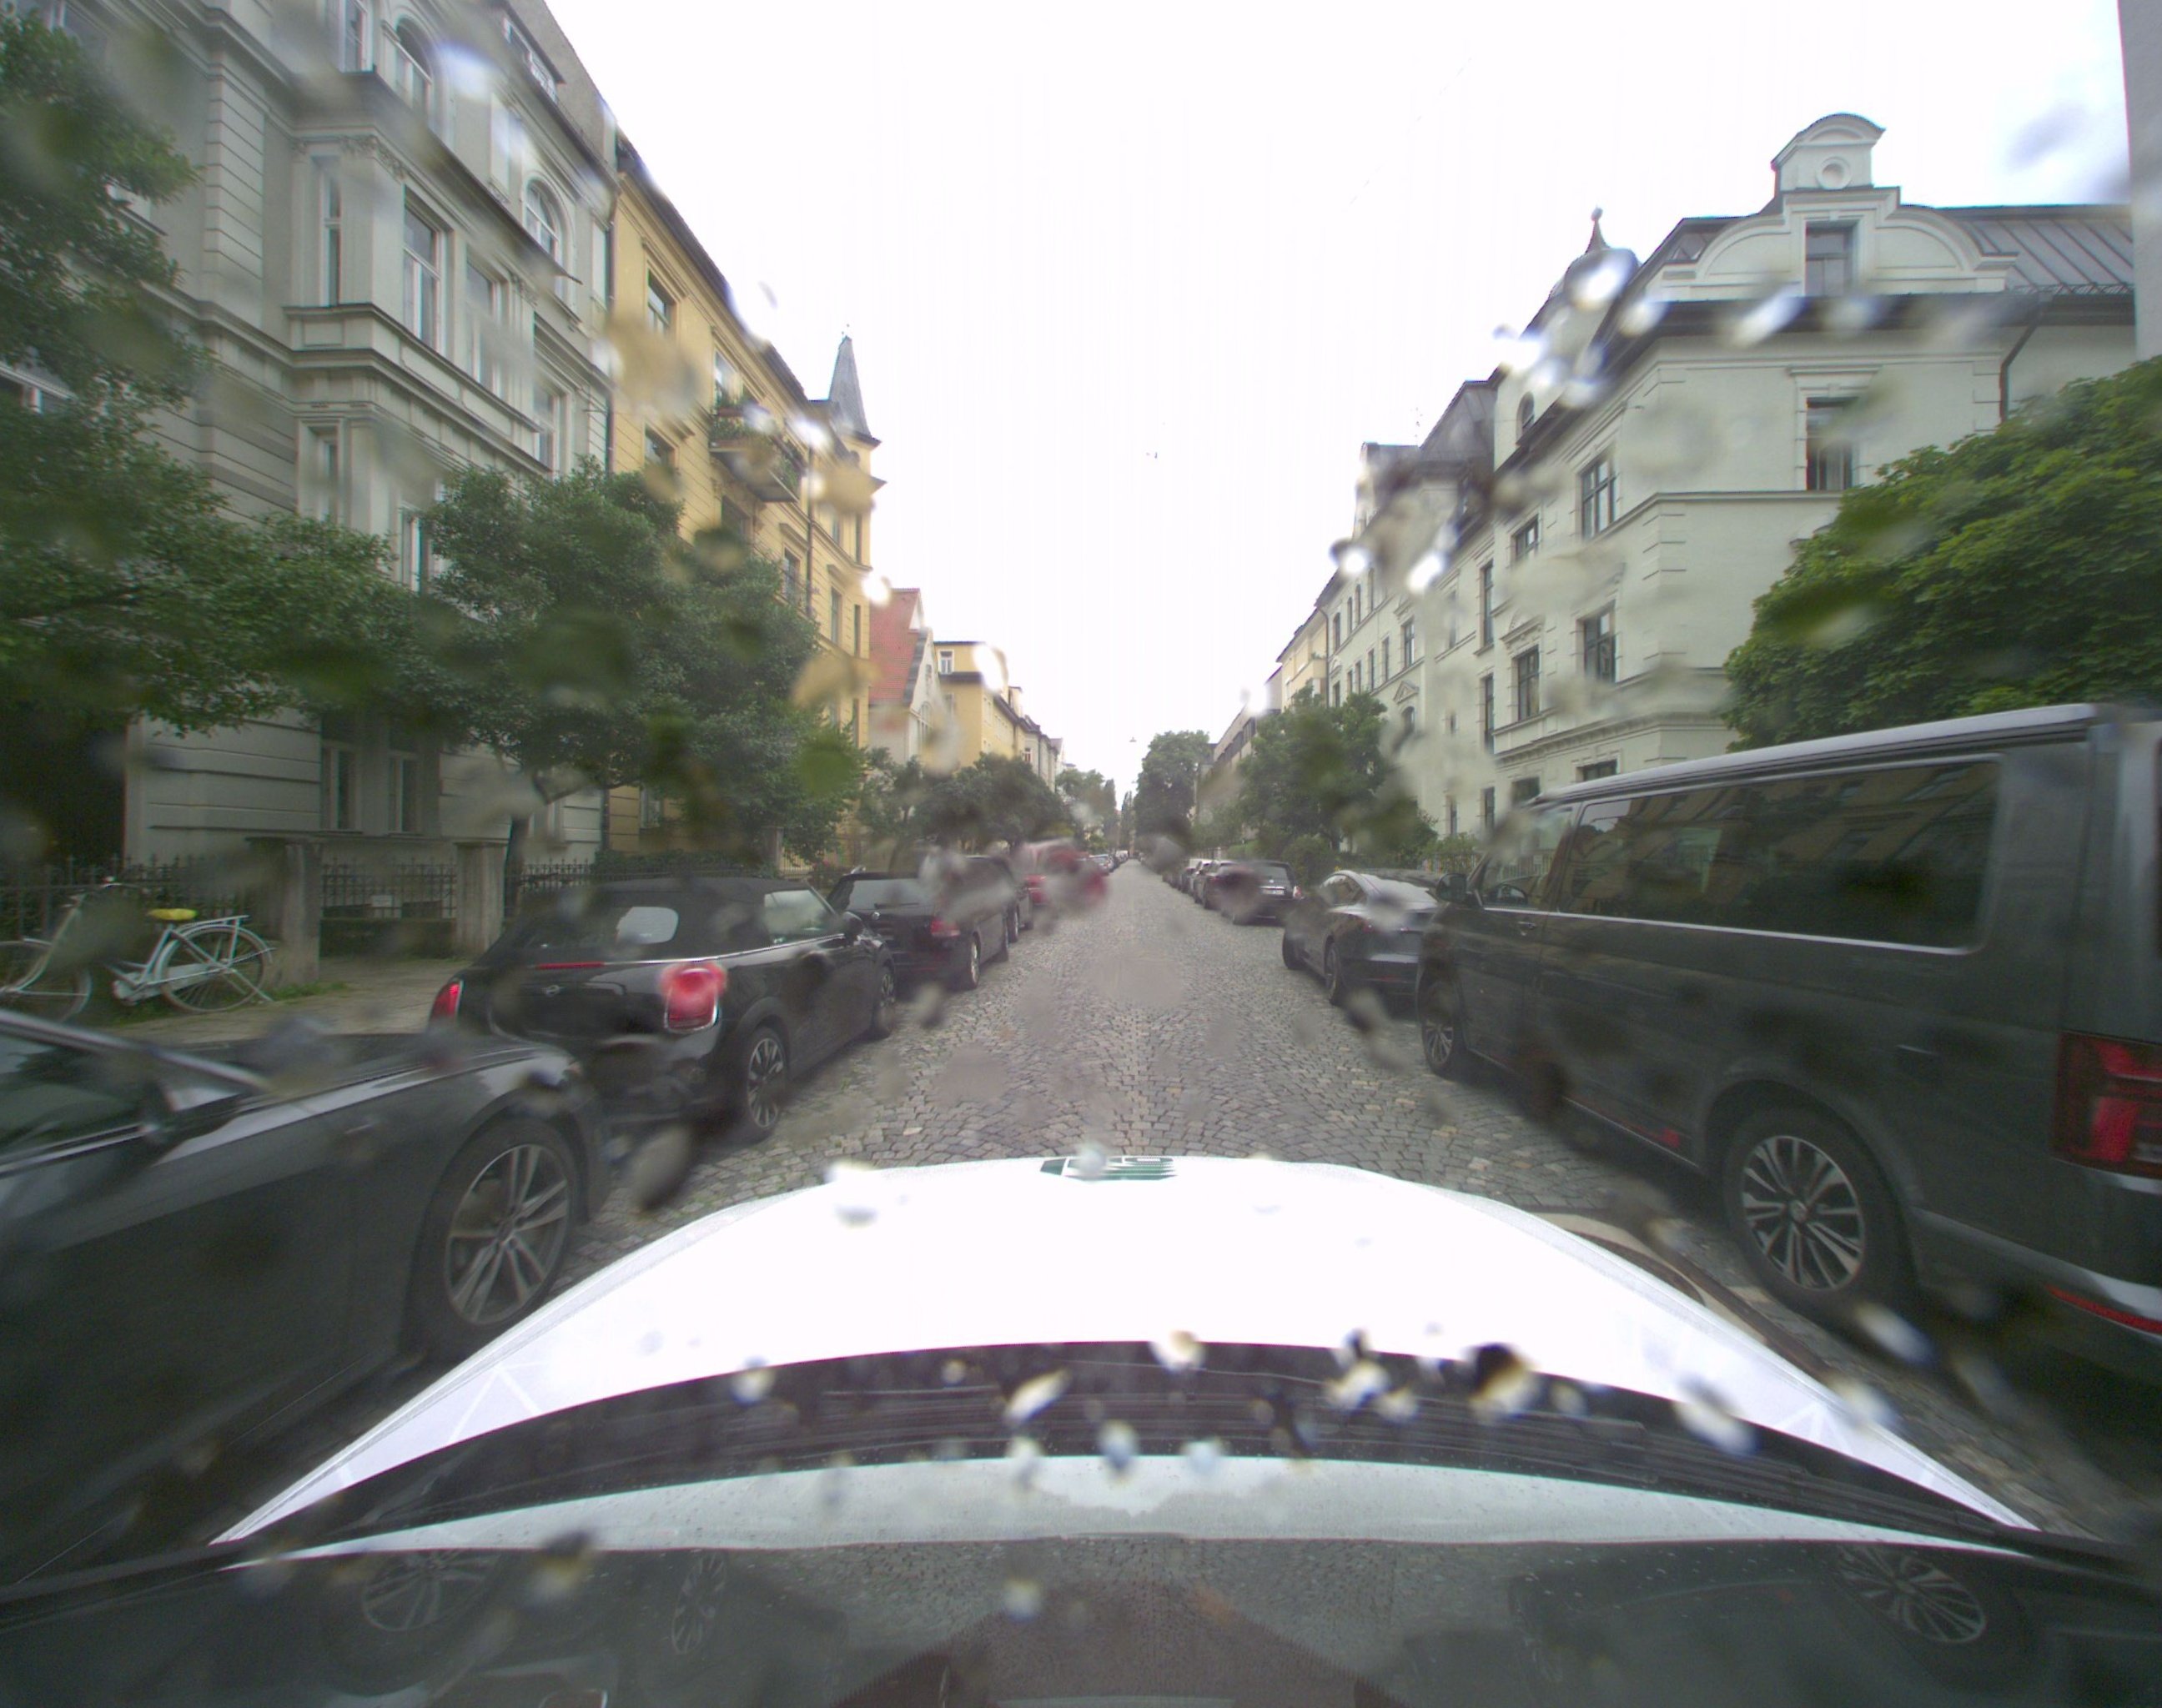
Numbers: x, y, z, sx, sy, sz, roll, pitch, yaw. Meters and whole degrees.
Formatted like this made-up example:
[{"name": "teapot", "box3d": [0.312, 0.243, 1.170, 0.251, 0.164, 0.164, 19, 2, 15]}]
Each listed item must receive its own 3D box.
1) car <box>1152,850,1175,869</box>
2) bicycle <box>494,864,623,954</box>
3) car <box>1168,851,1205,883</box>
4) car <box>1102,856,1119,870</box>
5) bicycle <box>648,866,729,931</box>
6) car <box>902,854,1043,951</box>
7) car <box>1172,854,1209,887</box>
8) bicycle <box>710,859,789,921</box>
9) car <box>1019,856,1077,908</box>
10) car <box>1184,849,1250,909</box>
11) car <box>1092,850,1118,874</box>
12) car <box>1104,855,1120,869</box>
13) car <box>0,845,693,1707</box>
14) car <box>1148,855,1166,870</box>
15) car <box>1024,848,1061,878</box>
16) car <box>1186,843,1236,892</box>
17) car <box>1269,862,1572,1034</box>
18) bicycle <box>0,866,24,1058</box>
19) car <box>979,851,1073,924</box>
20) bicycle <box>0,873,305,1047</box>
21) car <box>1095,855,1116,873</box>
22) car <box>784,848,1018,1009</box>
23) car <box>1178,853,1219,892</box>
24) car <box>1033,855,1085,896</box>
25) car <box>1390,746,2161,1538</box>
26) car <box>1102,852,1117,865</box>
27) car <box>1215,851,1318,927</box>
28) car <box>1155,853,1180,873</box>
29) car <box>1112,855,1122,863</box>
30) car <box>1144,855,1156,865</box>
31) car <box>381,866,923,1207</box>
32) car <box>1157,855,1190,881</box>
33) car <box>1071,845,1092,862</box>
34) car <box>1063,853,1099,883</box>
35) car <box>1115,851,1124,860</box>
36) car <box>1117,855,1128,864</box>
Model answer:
[{"name": "car", "box3d": [8.154, 0.548, 80.666, 1.914, 1.635, 3.742, -4, -1, 3]}, {"name": "bicycle", "box3d": [-7.085, 0.702, 11.154, 0.369, 1.102, 1.837, 1, 0, 8]}, {"name": "car", "box3d": [5.873, 0.723, 45.491, 1.654, 1.635, 3.450, -4, -1, 2]}, {"name": "car", "box3d": [3.649, 1.113, 99.723, 1.914, 1.635, 3.742, -4, -1, 3]}, {"name": "bicycle", "box3d": [-6.814, 0.743, 14.230, 0.416, 1.027, 1.766, 1, 0, 4]}, {"name": "car", "box3d": [-1.958, 0.843, 15.933, 1.914, 1.546, 4.003, -4, -1, 3]}, {"name": "car", "box3d": [5.413, 0.797, 40.483, 1.652, 1.456, 3.454, -4, -1, 6]}, {"name": "bicycle", "box3d": [-6.492, 0.685, 16.056, 0.415, 1.143, 1.772, 1, 0, 16]}, {"name": "car", "box3d": [-1.004, 0.856, 25.898, 1.425, 1.460, 2.654, -4, -1, 5]}, {"name": "car", "box3d": [3.988, 0.699, 24.315, 1.652, 1.635, 3.544, -1, -1, 5]}, {"name": "car", "box3d": [1.976, 0.648, 66.928, 1.914, 1.839, 3.742, -4, -1, 3]}, {"name": "car", "box3d": [3.950, 1.056, 104.877, 1.914, 1.635, 3.742, -4, -1, 3]}, {"name": "car", "box3d": [-2.742, 0.774, 1.115, 1.798, 1.504, 5.179, -2, 0, 1]}, {"name": "car", "box3d": [9.093, 0.996, 97.303, 1.914, 1.635, 3.742, -4, -1, 3]}, {"name": "car", "box3d": [-2.178, 0.497, 46.811, 1.772, 1.635, 3.741, 0, -1, 2]}, {"name": "car", "box3d": [4.900, 0.497, 30.597, 1.650, 1.635, 3.457, -4, -1, 10]}, {"name": "car", "box3d": [3.597, 0.861, 9.726, 1.913, 1.434, 4.807, 2, 0, 5]}, {"name": "bicycle", "box3d": [-7.320, 0.696, 4.409, 0.498, 1.248, 1.981, 1, 0, 3]}, {"name": "car", "box3d": [-1.340, 0.821, 21.406, 1.914, 1.635, 3.809, -4, -1, 3]}, {"name": "bicycle", "box3d": [-7.297, 0.739, 6.460, 0.361, 1.133, 1.889, 1, 0, 3]}, {"name": "car", "box3d": [2.448, 0.959, 79.903, 1.914, 1.635, 3.742, -4, -1, 3]}, {"name": "car", "box3d": [-2.005, 0.782, 10.452, 1.719, 1.540, 4.340, -4, -1, 3]}, {"name": "car", "box3d": [5.098, 0.781, 35.430, 1.588, 1.502, 3.269, -4, -1, 7]}, {"name": "car", "box3d": [-0.827, 0.816, 32.399, 1.652, 1.534, 3.489, -1, -1, 5]}, {"name": "car", "box3d": [3.358, 0.606, 4.122, 2.013, 1.690, 4.855, 0, 0, 3]}, {"name": "car", "box3d": [3.949, 0.564, 111.092, 1.914, 1.635, 3.742, -4, -1, 3]}, {"name": "car", "box3d": [4.476, 0.789, 20.199, 1.913, 1.635, 4.051, 2, 0, 5]}, {"name": "car", "box3d": [7.714, 0.788, 72.723, 1.914, 1.635, 3.742, -4, -1, 3]}, {"name": "car", "box3d": [7.733, 1.141, 174.171, 1.914, 1.635, 3.742, -4, -1, 3]}, {"name": "car", "box3d": [12.593, 1.051, 148.192, 1.914, 1.635, 3.742, -4, -1, 3]}, {"name": "car", "box3d": [-2.429, 0.905, 5.772, 1.697, 1.516, 3.729, -2, 0, 2]}, {"name": "car", "box3d": [5.708, 0.871, 50.550, 1.654, 1.465, 3.450, -4, -1, 2]}, {"name": "car", "box3d": [0.114, 0.004, 85.745, 1.914, 1.635, 3.742, -4, -1, 3]}, {"name": "car", "box3d": [0.030, 0.803, 46.191, 1.915, 1.635, 3.739, 0, -1, 1]}, {"name": "car", "box3d": [8.948, 0.298, 189.202, 1.987, 2.014, 4.000, 0, -2, 1]}, {"name": "car", "box3d": [7.948, 1.117, 156.134, 1.914, 1.635, 3.742, -4, -1, 3]}]
